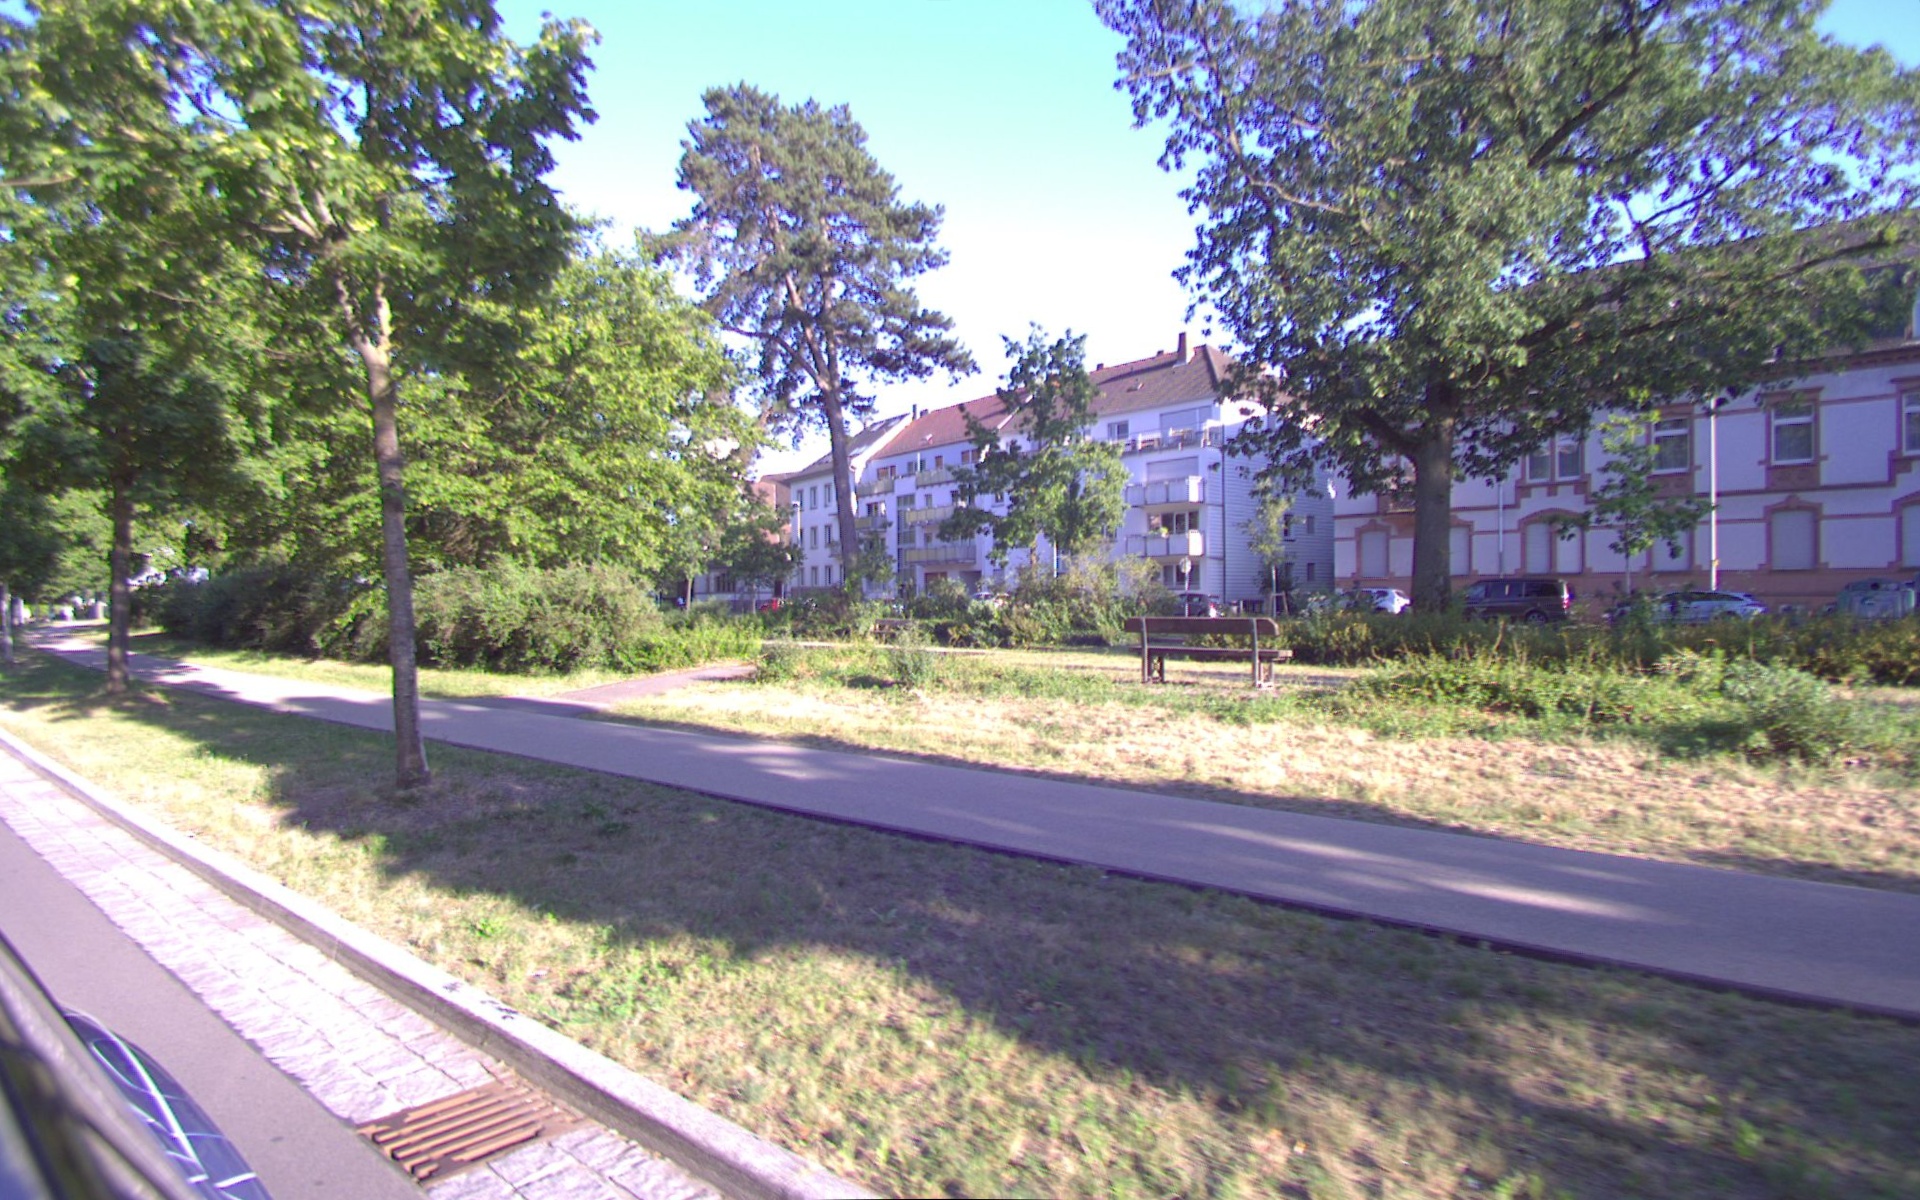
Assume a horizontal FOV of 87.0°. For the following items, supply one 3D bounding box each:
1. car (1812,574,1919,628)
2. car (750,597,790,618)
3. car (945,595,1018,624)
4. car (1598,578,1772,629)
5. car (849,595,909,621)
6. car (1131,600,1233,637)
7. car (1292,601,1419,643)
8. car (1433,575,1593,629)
[{"bbox_3d":[28.945,0.042,30.756,4.595,1.586,1.866,2,1,40],"label":"car"},{"bbox_3d":[-15.599,0.585,82.865,1.858,1.586,4.614,0,1,-28],"label":"car"},{"bbox_3d":[1.239,0.549,60.214,1.860,1.586,4.608,0,1,-38],"label":"car"},{"bbox_3d":[24.665,0.078,34.531,4.600,1.586,1.864,2,1,44],"label":"car"},{"bbox_3d":[-5.477,0.522,68.237,1.860,1.586,4.610,0,1,-36],"label":"car"},{"bbox_3d":[10.730,0.863,49.129,1.862,1.586,4.604,0,1,-43],"label":"car"},{"bbox_3d":[16.582,0.882,42.572,1.862,1.586,4.604,0,1,-43],"label":"car"},{"bbox_3d":[20.864,0.022,38.367,1.862,1.907,4.982,0,1,-43],"label":"car"}]
